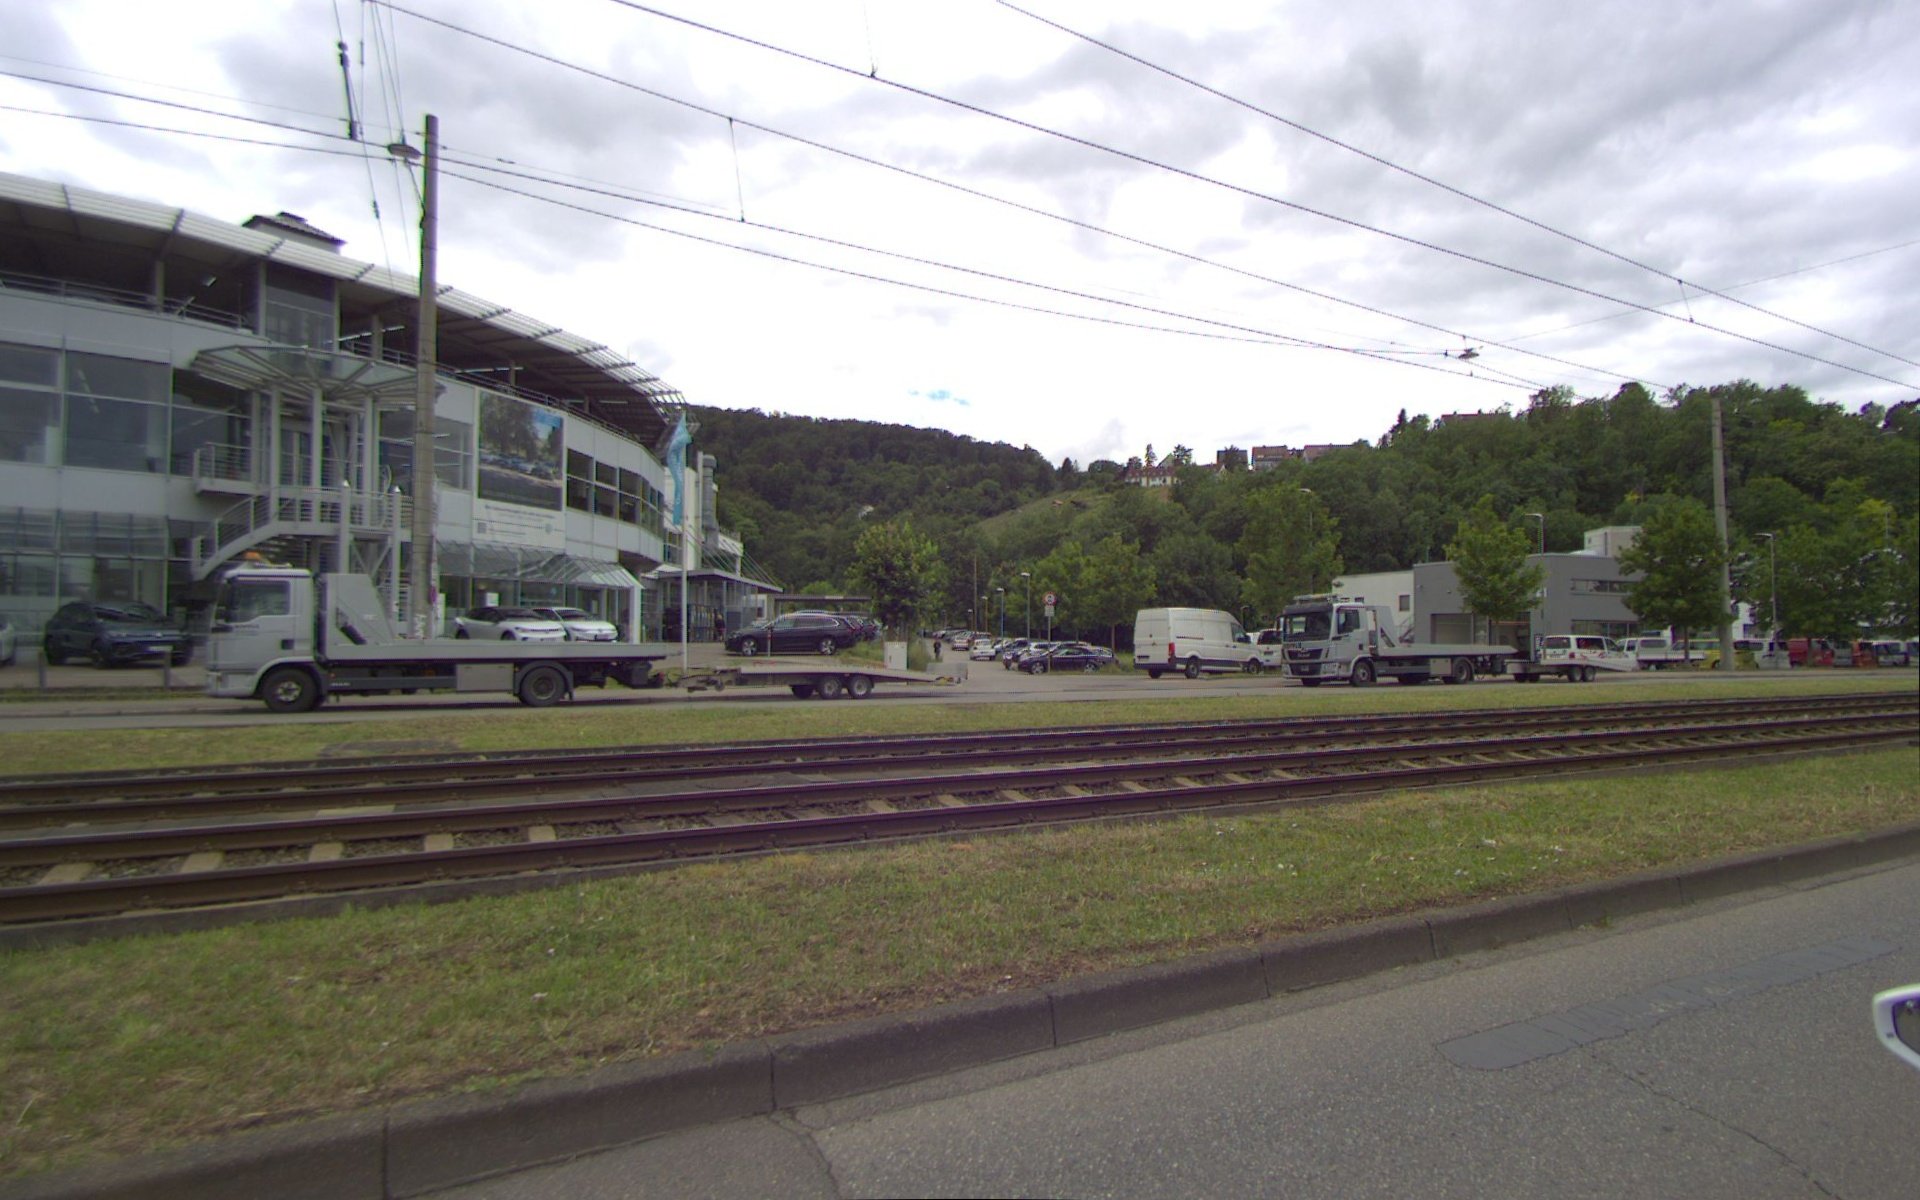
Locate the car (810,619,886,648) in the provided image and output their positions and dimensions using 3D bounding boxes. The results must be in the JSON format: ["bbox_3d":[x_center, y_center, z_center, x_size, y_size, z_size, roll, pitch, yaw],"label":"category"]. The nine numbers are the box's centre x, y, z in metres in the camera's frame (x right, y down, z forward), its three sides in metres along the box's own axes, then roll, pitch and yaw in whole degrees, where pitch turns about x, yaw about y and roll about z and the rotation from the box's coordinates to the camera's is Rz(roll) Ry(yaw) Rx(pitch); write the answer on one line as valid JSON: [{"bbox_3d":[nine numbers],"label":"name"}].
[{"bbox_3d":[-6.359,1.894,57.089,4.193,1.594,1.871,1,-2,-6],"label":"car"}]

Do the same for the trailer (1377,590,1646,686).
[{"bbox_3d":[19.556,1.351,35.316,10.653,3.021,2.882,1,-2,-27],"label":"trailer"}]

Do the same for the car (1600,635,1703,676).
[{"bbox_3d":[36.484,2.961,53.165,1.962,1.922,4.608,4,-4,-5],"label":"car"}]

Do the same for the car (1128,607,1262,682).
[{"bbox_3d":[8.999,1.694,38.207,5.388,2.680,1.988,2,-2,-37],"label":"car"}]

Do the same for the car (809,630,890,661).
[{"bbox_3d":[-5.862,2.414,53.631,4.193,1.594,1.871,1,-2,-6],"label":"car"}]

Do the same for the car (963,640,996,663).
[{"bbox_3d":[1.386,3.730,73.140,1.892,1.549,3.997,1,-2,-6],"label":"car"}]

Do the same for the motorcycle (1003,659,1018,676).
[{"bbox_3d":[2.696,3.654,54.248,0.582,0.864,1.936,1,-2,-4],"label":"motorcycle"}]

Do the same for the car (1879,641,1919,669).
[{"bbox_3d":[60.994,3.454,63.441,1.807,1.728,3.981,0,-2,-21],"label":"car"}]

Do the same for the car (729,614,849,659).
[{"bbox_3d":[-6.232,1.345,37.031,4.193,1.594,1.871,1,-2,-6],"label":"car"}]

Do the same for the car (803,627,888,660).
[{"bbox_3d":[-5.753,2.180,50.763,4.193,1.594,1.871,1,-2,-6],"label":"car"}]

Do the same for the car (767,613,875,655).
[{"bbox_3d":[-5.530,1.360,40.395,4.193,1.594,1.871,1,-2,-6],"label":"car"}]

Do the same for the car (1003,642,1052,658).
[{"bbox_3d":[5.610,4.161,84.157,3.923,1.283,1.610,1,-2,-4],"label":"car"}]

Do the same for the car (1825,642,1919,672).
[{"bbox_3d":[56.048,3.451,61.719,1.807,1.728,3.981,0,-2,-21],"label":"car"}]

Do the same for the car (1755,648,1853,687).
[{"bbox_3d":[49.684,3.960,59.203,1.974,2.039,3.976,5,-4,-25],"label":"car"}]

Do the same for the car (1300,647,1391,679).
[{"bbox_3d":[22.694,3.694,59.268,4.783,1.788,1.610,1,-2,-1],"label":"car"}]

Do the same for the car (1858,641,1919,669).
[{"bbox_3d":[58.738,3.417,62.409,1.807,1.728,3.981,1,-3,-21],"label":"car"}]

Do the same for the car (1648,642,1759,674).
[{"bbox_3d":[41.367,3.196,55.999,1.974,1.595,4.581,5,-4,-25],"label":"car"}]

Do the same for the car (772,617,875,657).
[{"bbox_3d":[-5.712,1.579,42.494,4.193,1.594,1.871,1,-2,-6],"label":"car"}]

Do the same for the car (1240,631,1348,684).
[{"bbox_3d":[13.977,2.399,41.977,4.213,1.900,2.143,6,-4,-34],"label":"car"}]

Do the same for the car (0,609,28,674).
[{"bbox_3d":[-23.879,0.955,24.082,1.779,1.505,3.959,2,-2,-36],"label":"car"}]

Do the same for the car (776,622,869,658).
[{"bbox_3d":[-6.394,1.865,47.075,4.193,1.594,1.871,1,-2,-6],"label":"car"}]

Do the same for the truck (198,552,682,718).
[{"bbox_3d":[-9.709,0.769,19.673,7.924,2.774,2.276,2,-4,-29],"label":"truck"}]

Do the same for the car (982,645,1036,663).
[{"bbox_3d":[3.712,4.085,76.394,3.923,1.283,1.610,1,-2,-4],"label":"car"}]

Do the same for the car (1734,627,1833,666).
[{"bbox_3d":[47.308,2.665,57.798,1.974,2.039,3.976,5,-4,-25],"label":"car"}]

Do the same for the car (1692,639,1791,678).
[{"bbox_3d":[44.222,3.270,56.895,1.974,2.039,3.976,5,-4,-25],"label":"car"}]

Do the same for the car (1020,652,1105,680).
[{"bbox_3d":[4.971,3.204,49.187,3.923,1.283,1.610,1,-2,-4],"label":"car"}]

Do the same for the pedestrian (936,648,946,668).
[{"bbox_3d":[-1.252,3.811,66.318,0.394,1.308,0.440,5,-4,-23],"label":"pedestrian"}]

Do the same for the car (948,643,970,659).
[{"bbox_3d":[-0.085,5.247,103.511,1.892,1.549,3.997,1,-2,-6],"label":"car"}]

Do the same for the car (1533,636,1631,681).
[{"bbox_3d":[30.753,2.885,49.679,4.551,1.922,1.987,5,-4,-26],"label":"car"}]

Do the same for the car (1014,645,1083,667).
[{"bbox_3d":[5.261,3.355,60.161,3.923,1.283,1.610,1,-2,-4],"label":"car"}]

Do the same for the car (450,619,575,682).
[{"bbox_3d":[-15.115,1.695,33.866,3.934,1.794,1.995,1,-6,35],"label":"car"}]

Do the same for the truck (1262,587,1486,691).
[{"bbox_3d":[13.235,1.235,32.018,6.821,3.029,2.874,1,-2,-27],"label":"truck"}]

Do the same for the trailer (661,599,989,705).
[{"bbox_3d":[-3.022,1.204,23.269,7.227,2.155,2.283,1,-4,-28],"label":"trailer"}]

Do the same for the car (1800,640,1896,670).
[{"bbox_3d":[53.935,3.320,61.067,1.806,1.728,3.981,2,-3,-21],"label":"car"}]

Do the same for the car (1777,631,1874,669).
[{"bbox_3d":[51.840,2.980,60.222,1.974,2.039,3.976,5,-4,-25],"label":"car"}]

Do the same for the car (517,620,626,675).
[{"bbox_3d":[-14.284,1.730,36.872,3.940,1.794,1.992,0,-5,40],"label":"car"}]

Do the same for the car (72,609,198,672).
[{"bbox_3d":[-21.315,1.009,25.908,3.939,1.505,1.788,-1,-2,40],"label":"car"}]

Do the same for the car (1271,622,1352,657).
[{"bbox_3d":[23.154,2.583,66.181,4.783,2.220,1.610,1,-2,-1],"label":"car"}]

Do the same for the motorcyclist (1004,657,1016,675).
[{"bbox_3d":[2.703,3.547,54.252,0.549,0.958,0.659,1,-2,-4],"label":"motorcyclist"}]
